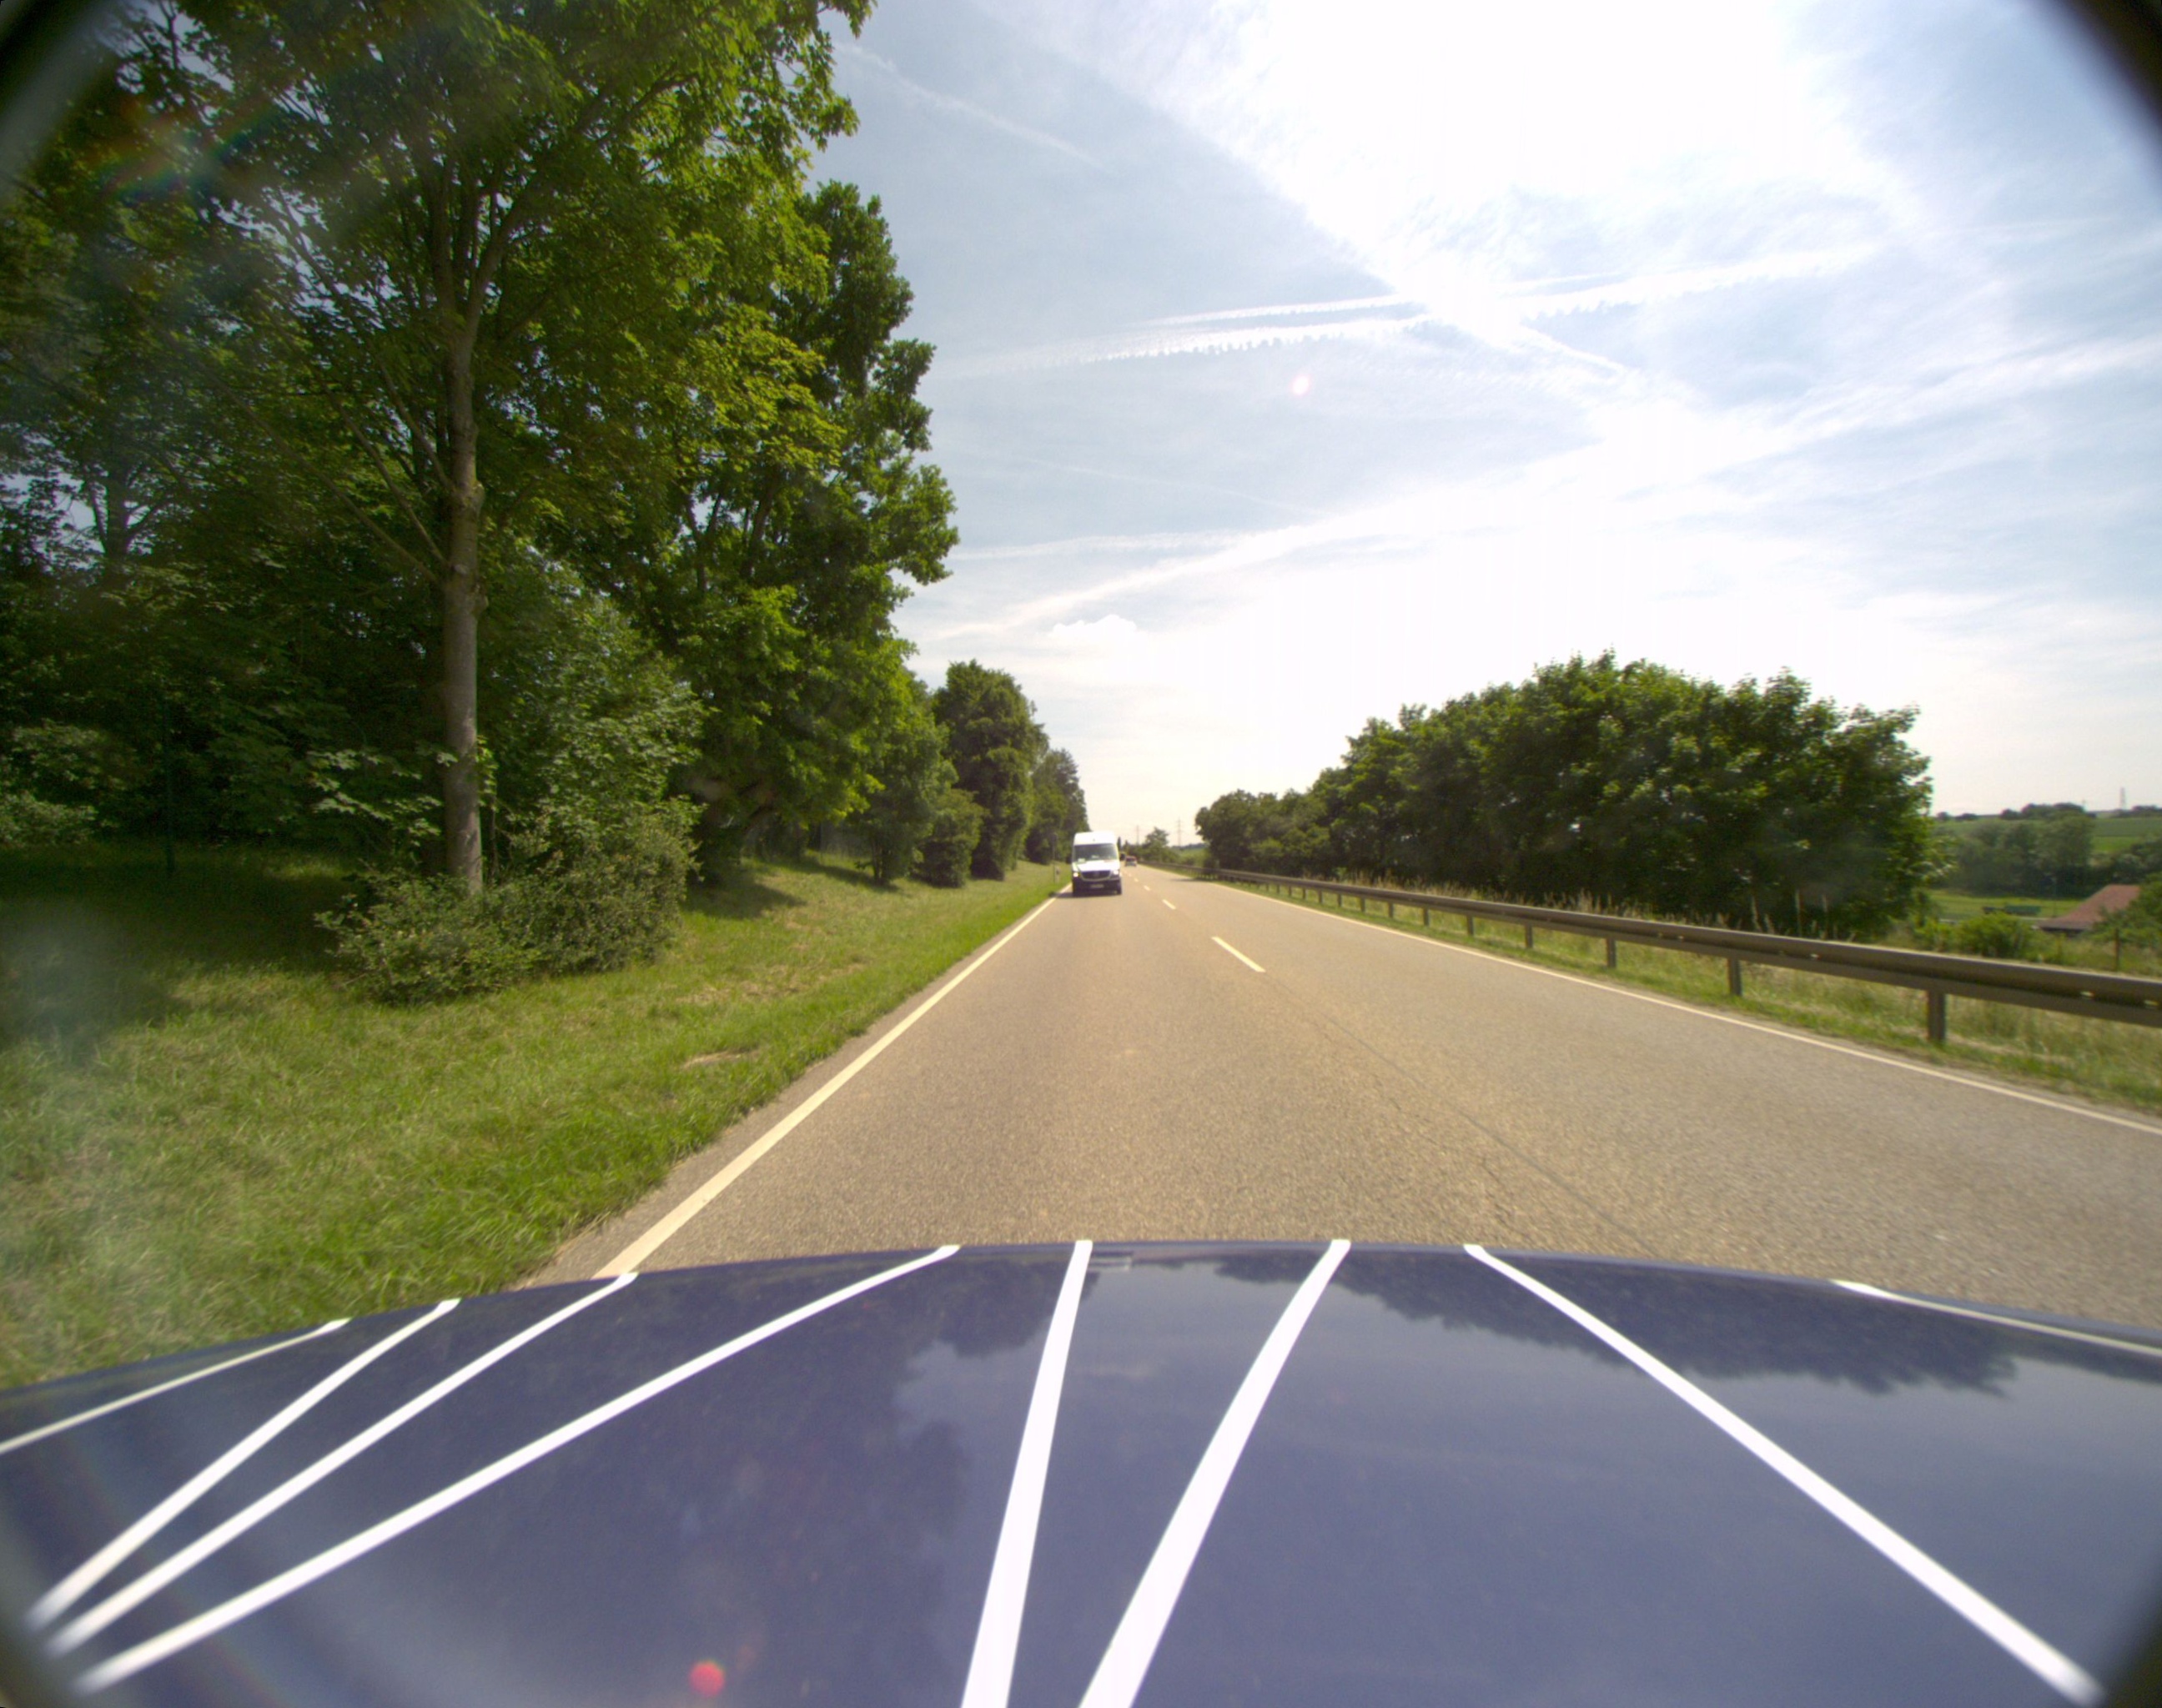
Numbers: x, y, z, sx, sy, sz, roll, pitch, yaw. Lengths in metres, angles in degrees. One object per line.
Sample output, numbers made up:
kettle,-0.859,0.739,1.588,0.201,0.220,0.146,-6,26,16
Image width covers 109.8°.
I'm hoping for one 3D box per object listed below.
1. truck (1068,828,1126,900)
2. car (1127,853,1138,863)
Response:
truck,0.727,0.366,31.273,2.022,2.567,7.226,-2,0,2
car,7.686,0.625,113.012,1.561,1.454,3.550,1,0,3
